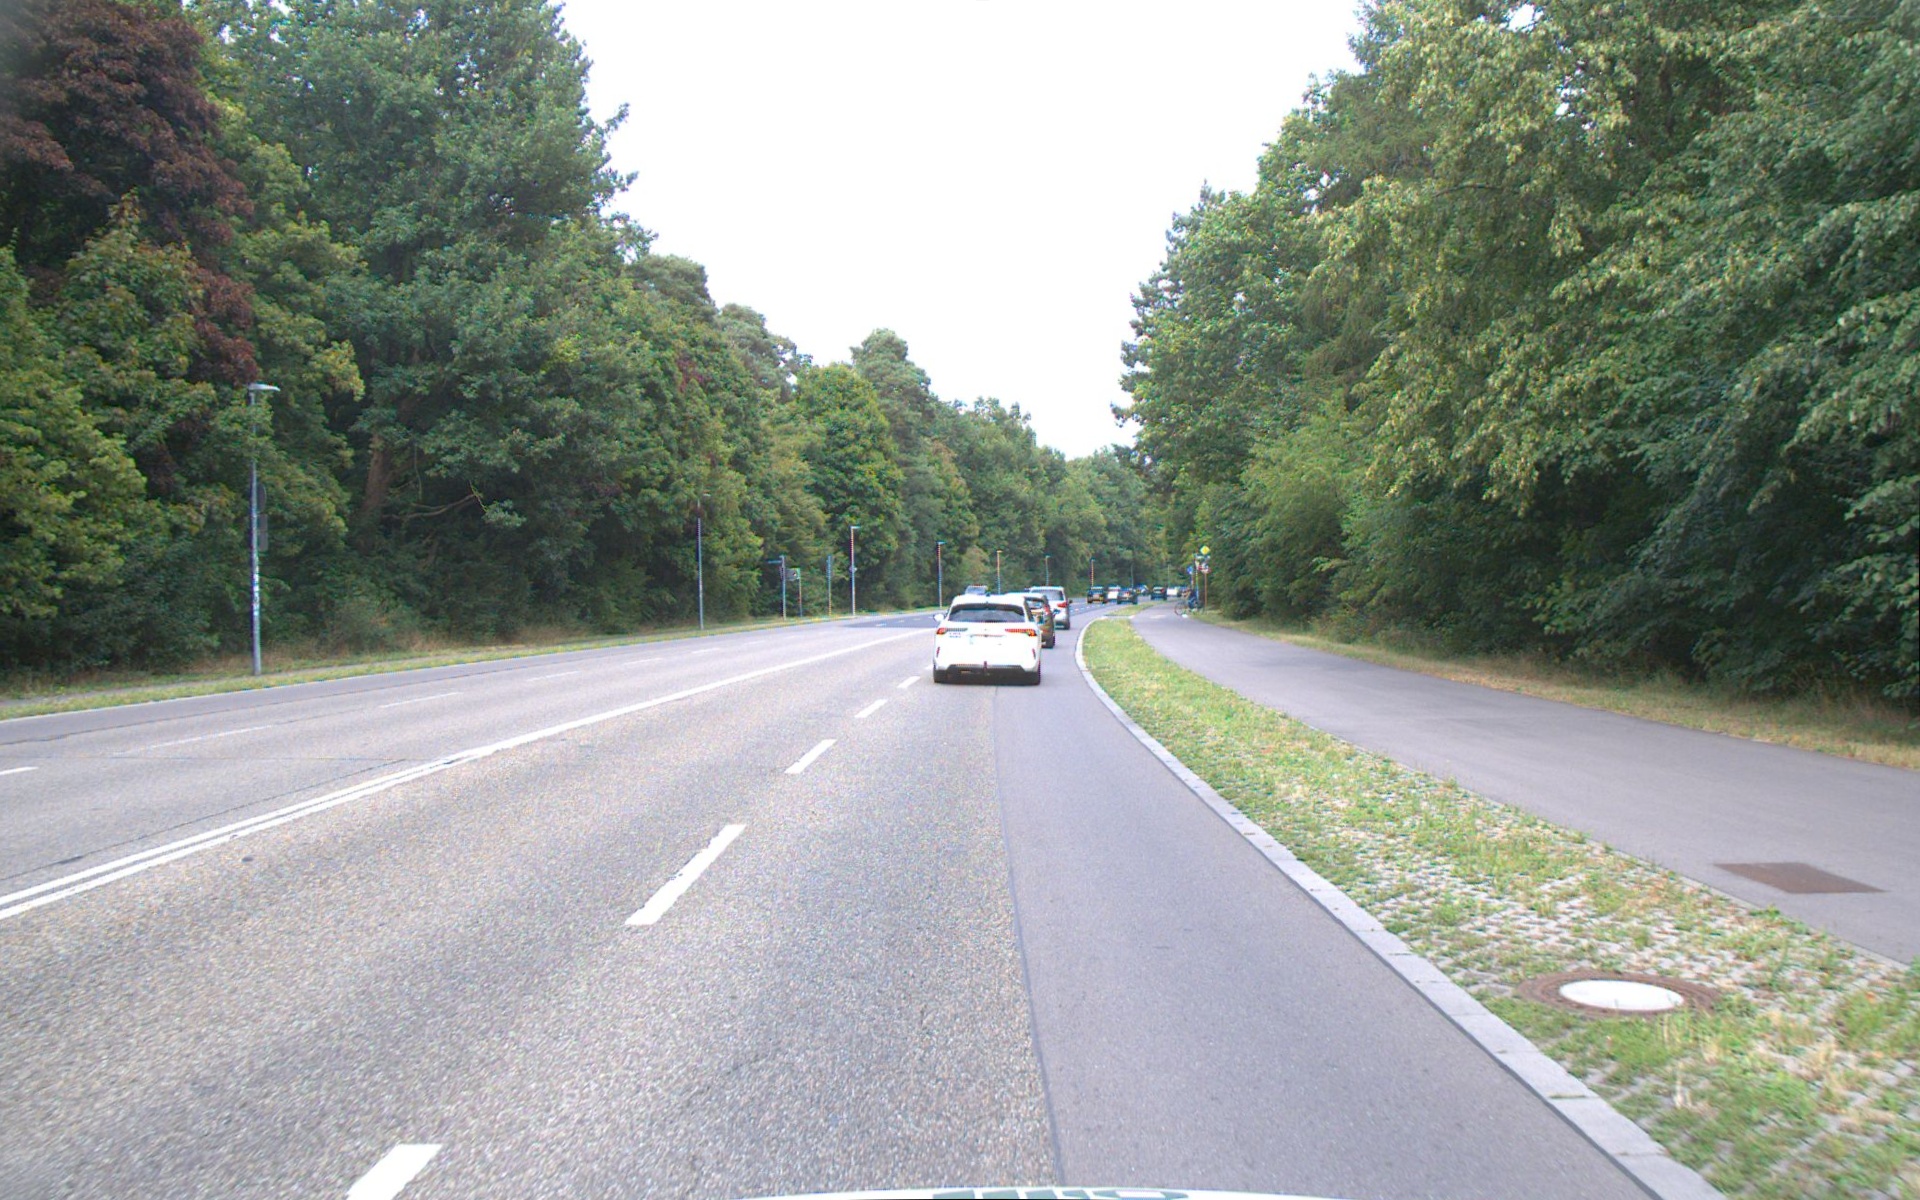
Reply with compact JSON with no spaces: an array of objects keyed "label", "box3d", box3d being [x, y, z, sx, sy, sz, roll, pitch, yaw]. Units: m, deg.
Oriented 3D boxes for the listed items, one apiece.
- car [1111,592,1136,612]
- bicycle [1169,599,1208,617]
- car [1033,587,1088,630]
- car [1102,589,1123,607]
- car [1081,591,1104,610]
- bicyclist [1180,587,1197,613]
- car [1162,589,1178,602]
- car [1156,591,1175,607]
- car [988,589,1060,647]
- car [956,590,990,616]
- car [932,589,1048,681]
[{"label":"car","box3d":[15.795,0.185,159.278,1.951,1.814,4.003,2,-1,12]},{"label":"bicycle","box3d":[12.996,0.439,94.085,2.129,1.011,0.711,0,0,2]},{"label":"car","box3d":[4.096,0.348,67.038,1.951,1.635,4.003,2,-1,6]},{"label":"car","box3d":[16.774,-0.208,181.754,1.951,1.814,4.003,2,-1,10]},{"label":"car","box3d":[13.172,0.069,164.317,1.951,1.814,4.003,2,-1,10]},{"label":"bicyclist","box3d":[12.988,-0.008,94.076,0.880,1.496,0.711,0,0,2]},{"label":"car","box3d":[31.350,-0.633,247.026,1.848,1.847,4.003,2,-1,15]},{"label":"car","box3d":[25.403,-0.076,204.351,1.951,1.814,4.003,2,-1,12]},{"label":"car","box3d":[1.794,0.493,45.255,1.601,1.445,4.003,2,-1,7]},{"label":"car","box3d":[1.005,0.211,124.014,1.951,1.822,4.751,2,-1,7]},{"label":"car","box3d":[0.430,0.561,28.058,1.799,1.435,4.489,0,0,-1]}]
